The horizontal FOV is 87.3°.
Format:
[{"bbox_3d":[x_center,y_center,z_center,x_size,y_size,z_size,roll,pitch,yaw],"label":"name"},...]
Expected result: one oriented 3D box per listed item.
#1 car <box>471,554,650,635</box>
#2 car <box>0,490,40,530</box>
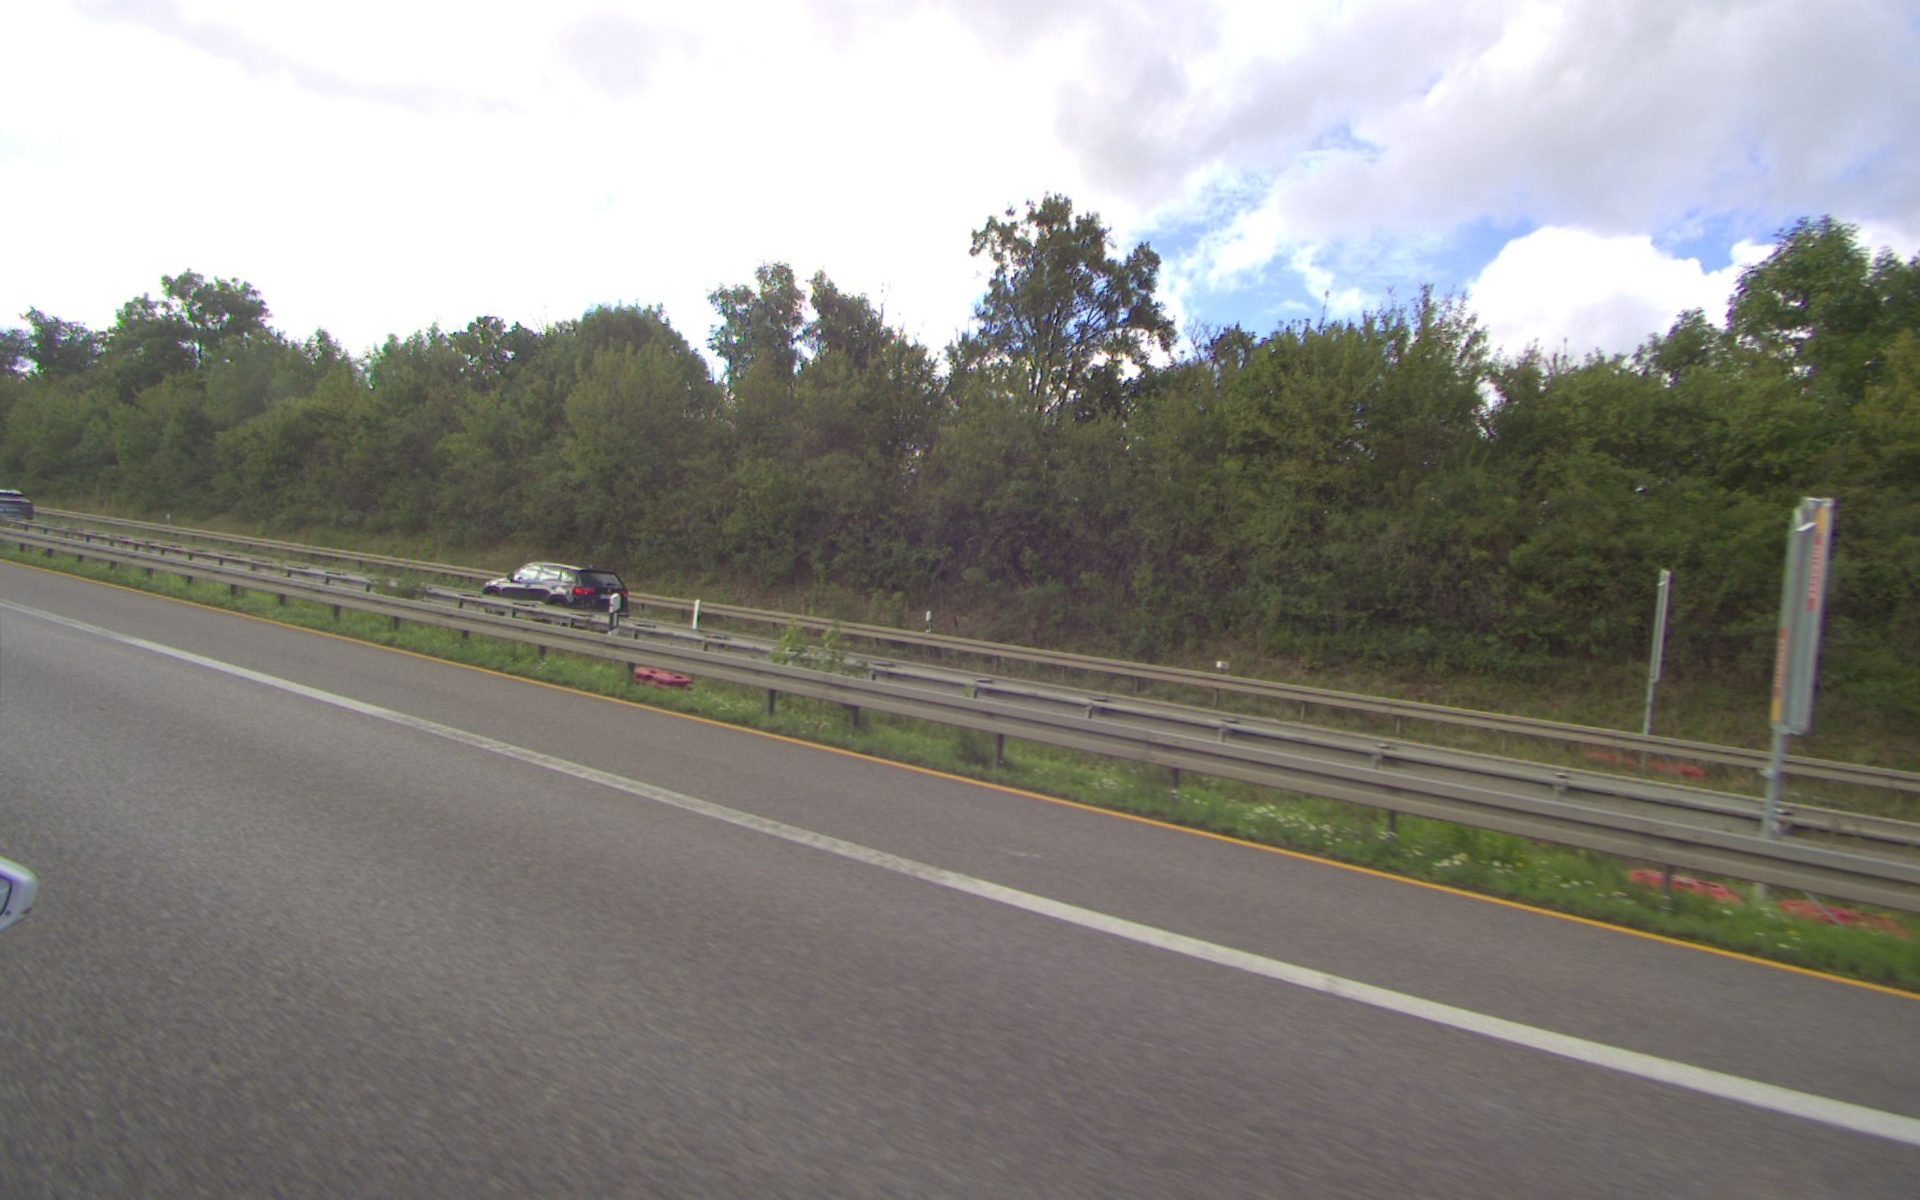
[{"bbox_3d":[-10.143,-0.151,25.468,4.450,1.504,1.844,7,2,32],"label":"car"},{"bbox_3d":[-45.638,-4.378,47.667,4.234,1.671,1.848,7,2,32],"label":"car"}]
